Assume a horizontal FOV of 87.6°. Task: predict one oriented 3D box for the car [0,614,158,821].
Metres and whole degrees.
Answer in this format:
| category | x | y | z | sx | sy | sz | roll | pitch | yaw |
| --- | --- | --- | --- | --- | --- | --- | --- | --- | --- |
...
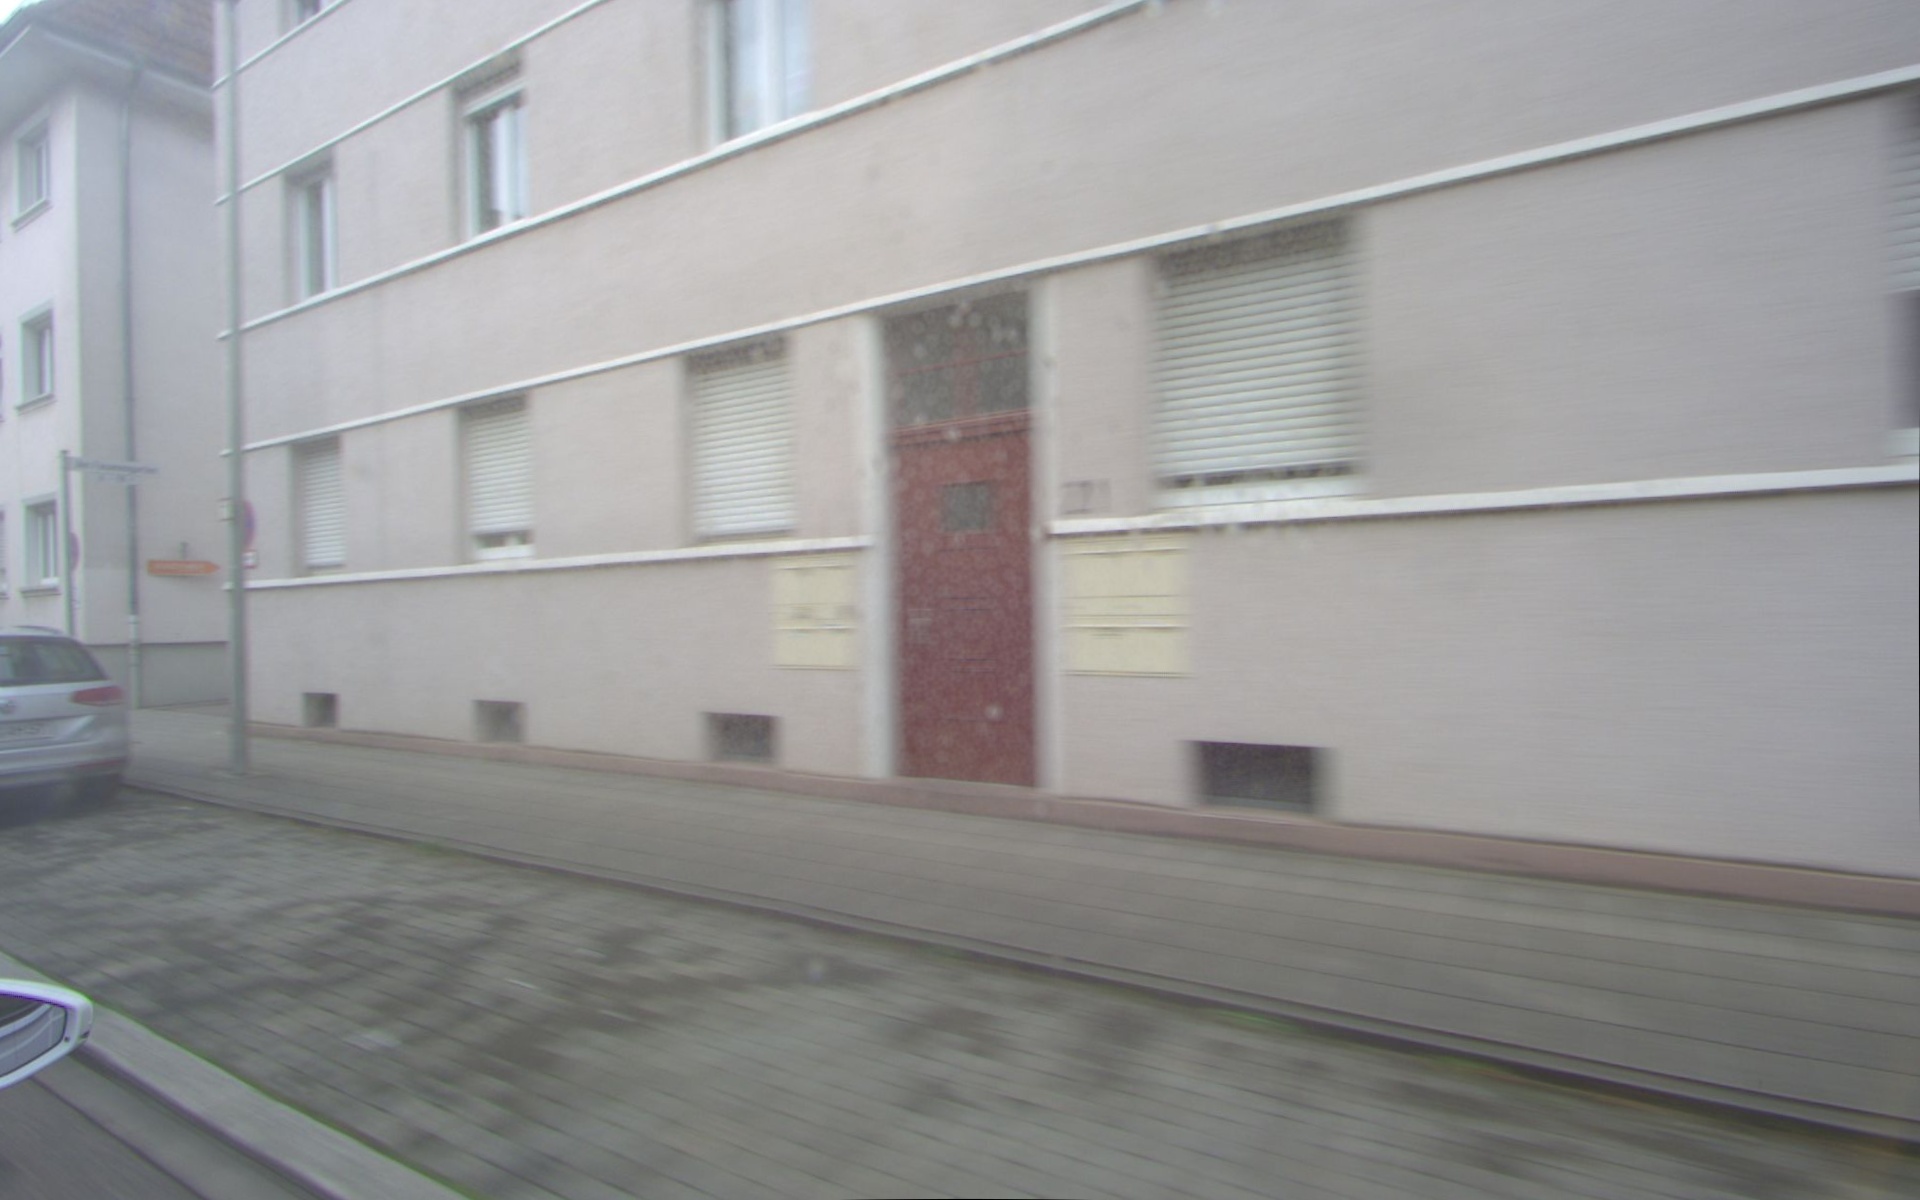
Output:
| category | x | y | z | sx | sy | sz | roll | pitch | yaw |
| --- | --- | --- | --- | --- | --- | --- | --- | --- | --- |
| car | -8.795 | 0.873 | 8.437 | 4.533 | 1.486 | 1.752 | -1 | -1 | 31 |
